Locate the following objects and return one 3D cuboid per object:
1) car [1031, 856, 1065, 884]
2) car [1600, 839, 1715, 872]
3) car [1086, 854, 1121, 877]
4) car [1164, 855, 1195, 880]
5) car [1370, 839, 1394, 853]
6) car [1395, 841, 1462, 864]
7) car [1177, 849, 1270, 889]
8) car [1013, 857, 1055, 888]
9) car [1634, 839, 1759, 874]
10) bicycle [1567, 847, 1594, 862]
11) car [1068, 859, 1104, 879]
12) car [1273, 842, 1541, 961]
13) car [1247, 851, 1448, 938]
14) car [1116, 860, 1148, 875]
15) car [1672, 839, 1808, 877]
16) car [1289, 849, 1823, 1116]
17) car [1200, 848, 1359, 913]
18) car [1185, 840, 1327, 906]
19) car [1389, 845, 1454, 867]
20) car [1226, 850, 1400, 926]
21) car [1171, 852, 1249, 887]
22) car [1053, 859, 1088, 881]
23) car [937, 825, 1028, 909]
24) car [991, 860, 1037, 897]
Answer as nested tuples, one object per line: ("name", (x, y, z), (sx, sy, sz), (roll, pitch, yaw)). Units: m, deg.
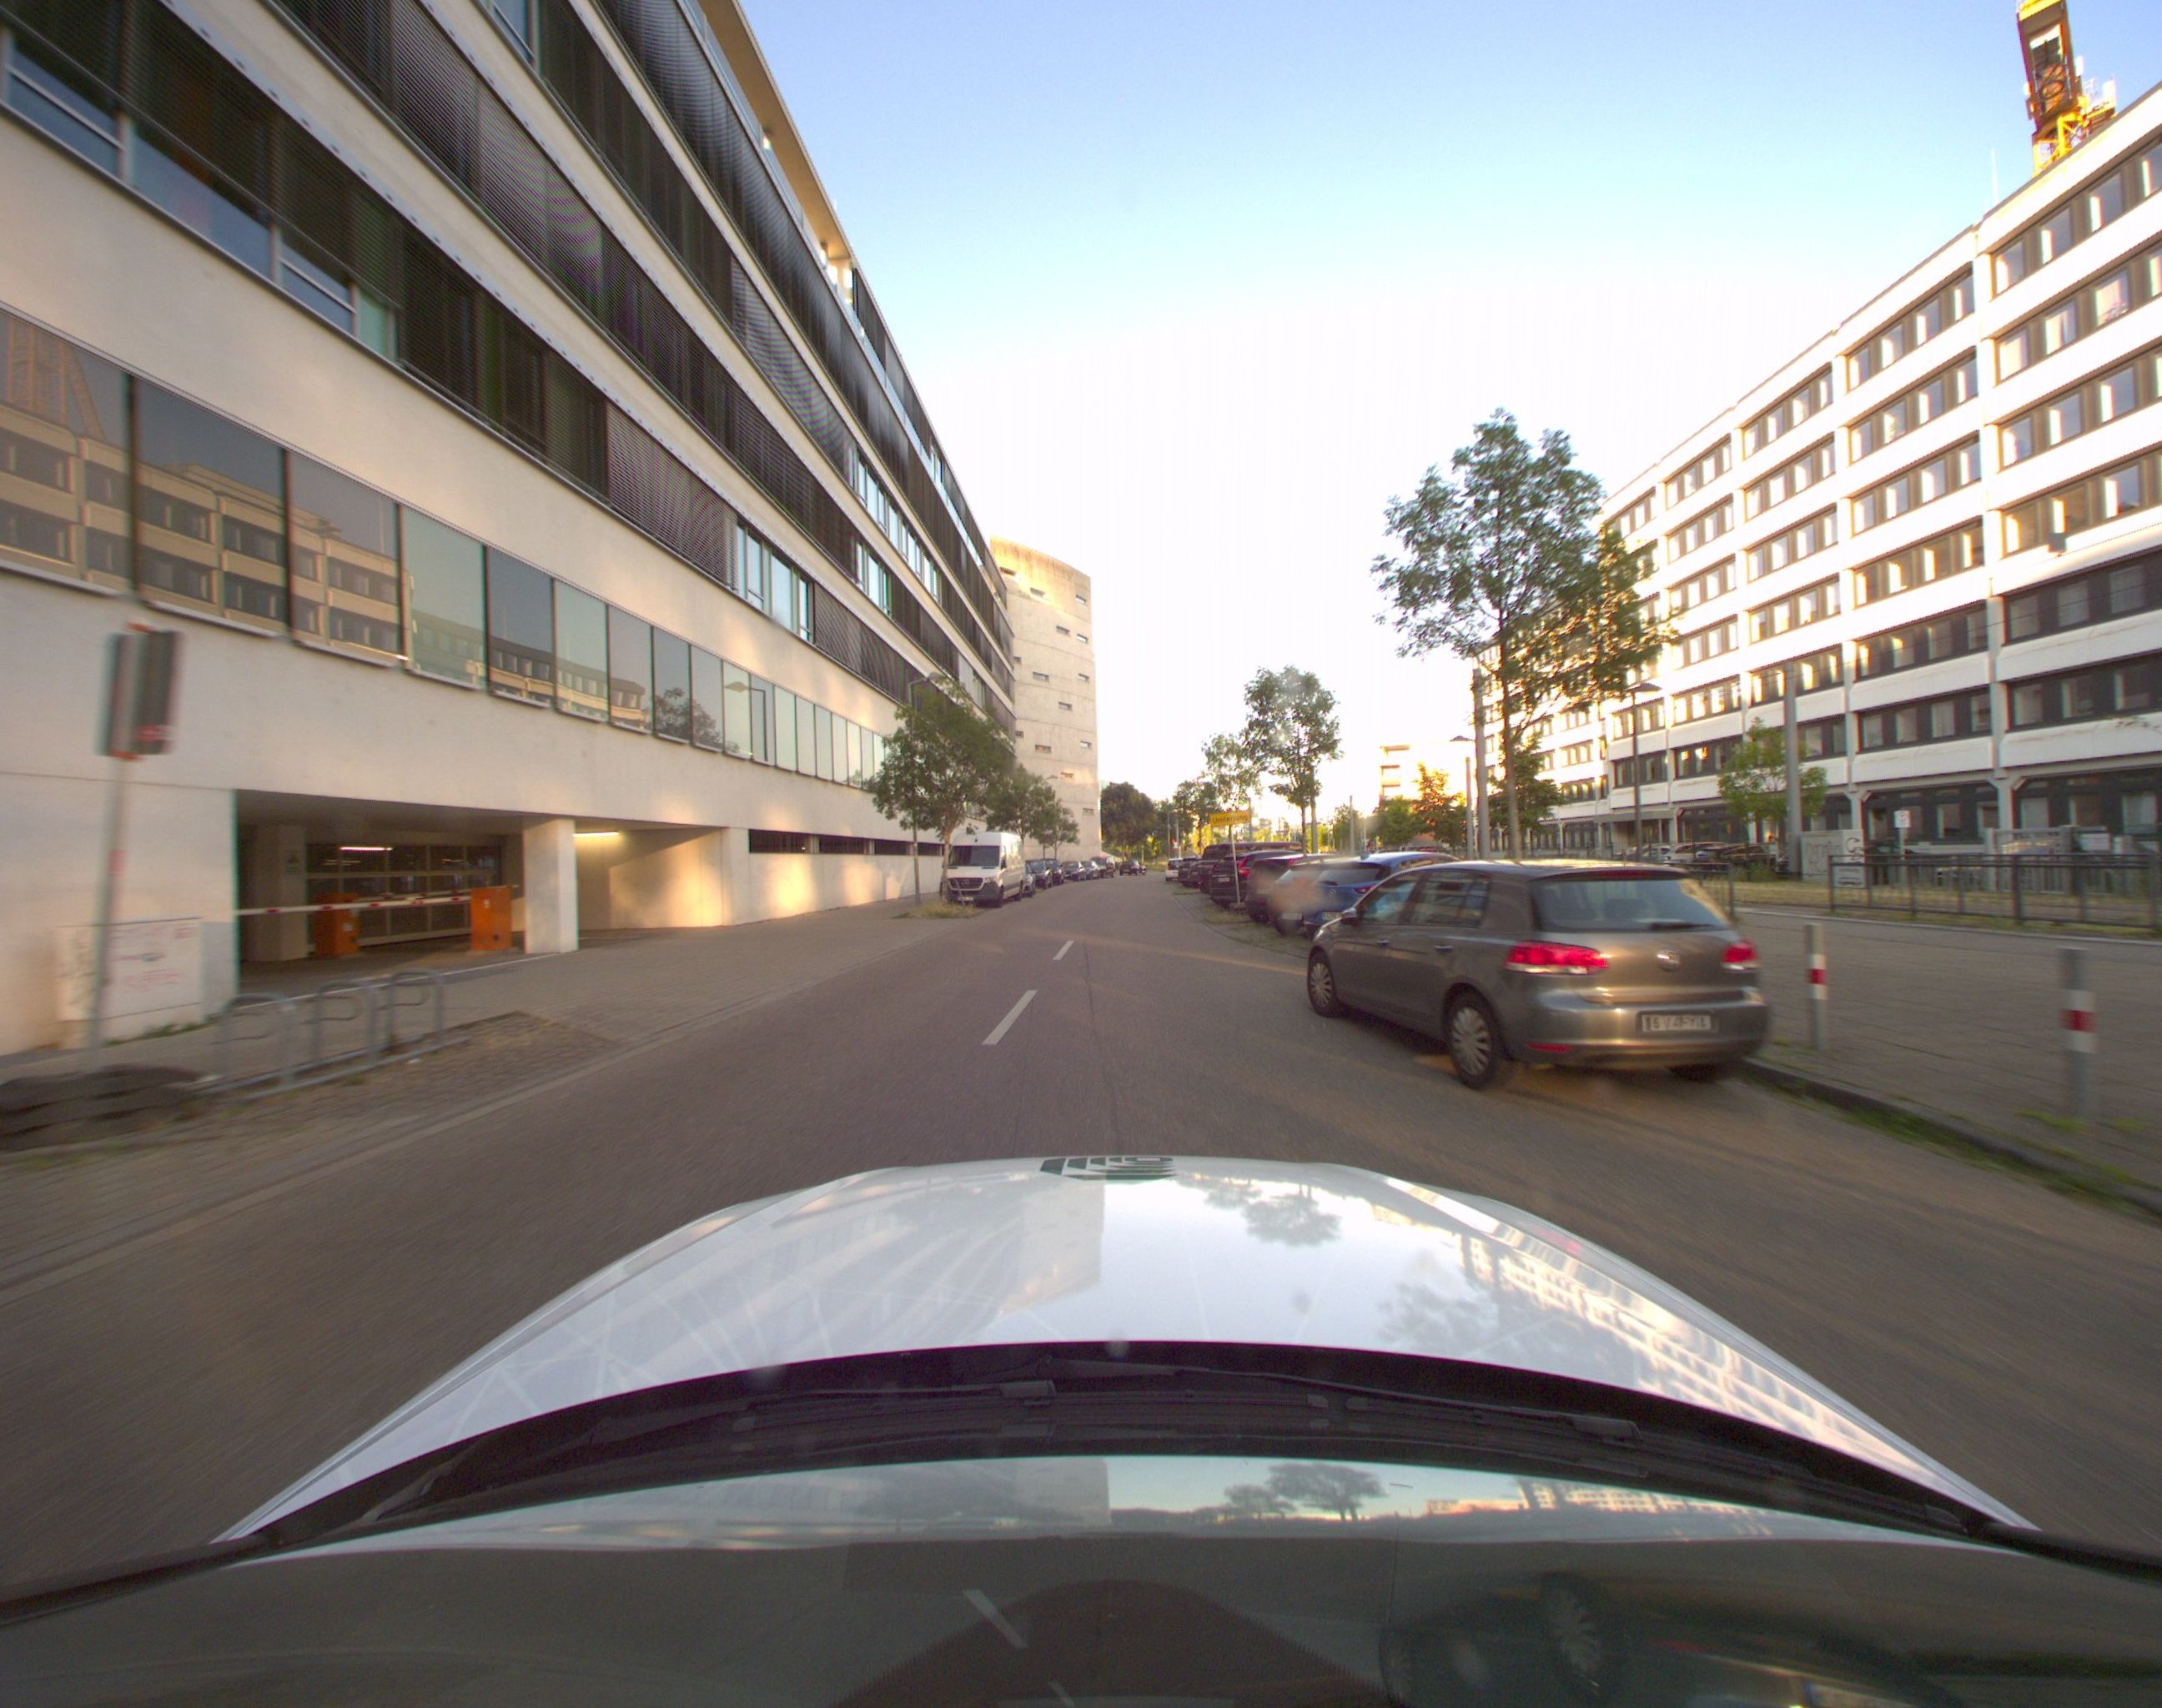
("car", (-1.975, 0.939, 49.647), (1.749, 1.653, 3.951), (0, 0, 3))
("car", (25.667, 0.050, 36.345), (3.972, 1.398, 1.592), (0, 0, 1))
("car", (1.978, 0.943, 69.259), (1.743, 1.798, 4.484), (0, 0, 19))
("car", (6.557, 0.868, 53.831), (1.711, 1.467, 3.564), (-3, 0, 11))
("car", (56.903, -1.486, 153.855), (4.115, 2.584, 1.713), (-2, -1, 25))
("car", (27.066, -0.110, 63.528), (4.477, 1.602, 1.695), (-2, -1, 3))
("car", (6.933, 0.724, 39.637), (3.993, 1.640, 1.957), (-3, -1, -25))
("car", (-2.496, 0.959, 43.916), (1.748, 1.561, 4.047), (0, 0, 4))
("car", (25.461, 0.096, 33.769), (3.972, 1.398, 1.592), (0, 0, 1))
("bicycle", (40.740, 0.005, 66.414), (0.824, 1.200, 2.434), (1, 0, 4))
("car", (0.440, 1.173, 64.059), (1.710, 1.457, 4.711), (0, 0, 14))
("car", (5.227, 0.672, 12.972), (4.014, 1.520, 1.908), (-2, -1, -32))
("car", (5.378, 0.735, 16.289), (4.017, 1.465, 1.718), (-2, -1, -35))
("car", (4.992, 1.271, 79.033), (1.928, 1.382, 4.421), (0, 0, 20))
("car", (25.439, 0.132, 31.508), (3.972, 1.398, 1.592), (0, 0, 1))
("car", (3.205, 0.733, 6.563), (1.729, 1.466, 3.992), (0, -1, -5))
("car", (5.894, 0.700, 24.028), (4.618, 1.749, 1.853), (0, 0, -31))
("car", (5.853, 0.557, 27.139), (4.618, 2.035, 1.853), (0, 0, -31))
("car", (27.531, 0.136, 65.958), (4.477, 1.602, 1.695), (-2, -1, 3))
("car", (5.456, 0.749, 19.047), (4.014, 1.595, 1.719), (1, -1, -33))
("car", (6.737, 0.764, 42.412), (3.790, 1.725, 1.747), (0, 0, -30))
("car", (-0.708, 1.125, 58.667), (1.712, 1.457, 4.283), (0, 0, 10))
("car", (-3.323, 0.385, 29.067), (1.950, 2.617, 6.900), (0, 0, 4))
("car", (-2.824, 1.024, 34.982), (1.751, 1.439, 3.899), (0, 0, -1))
